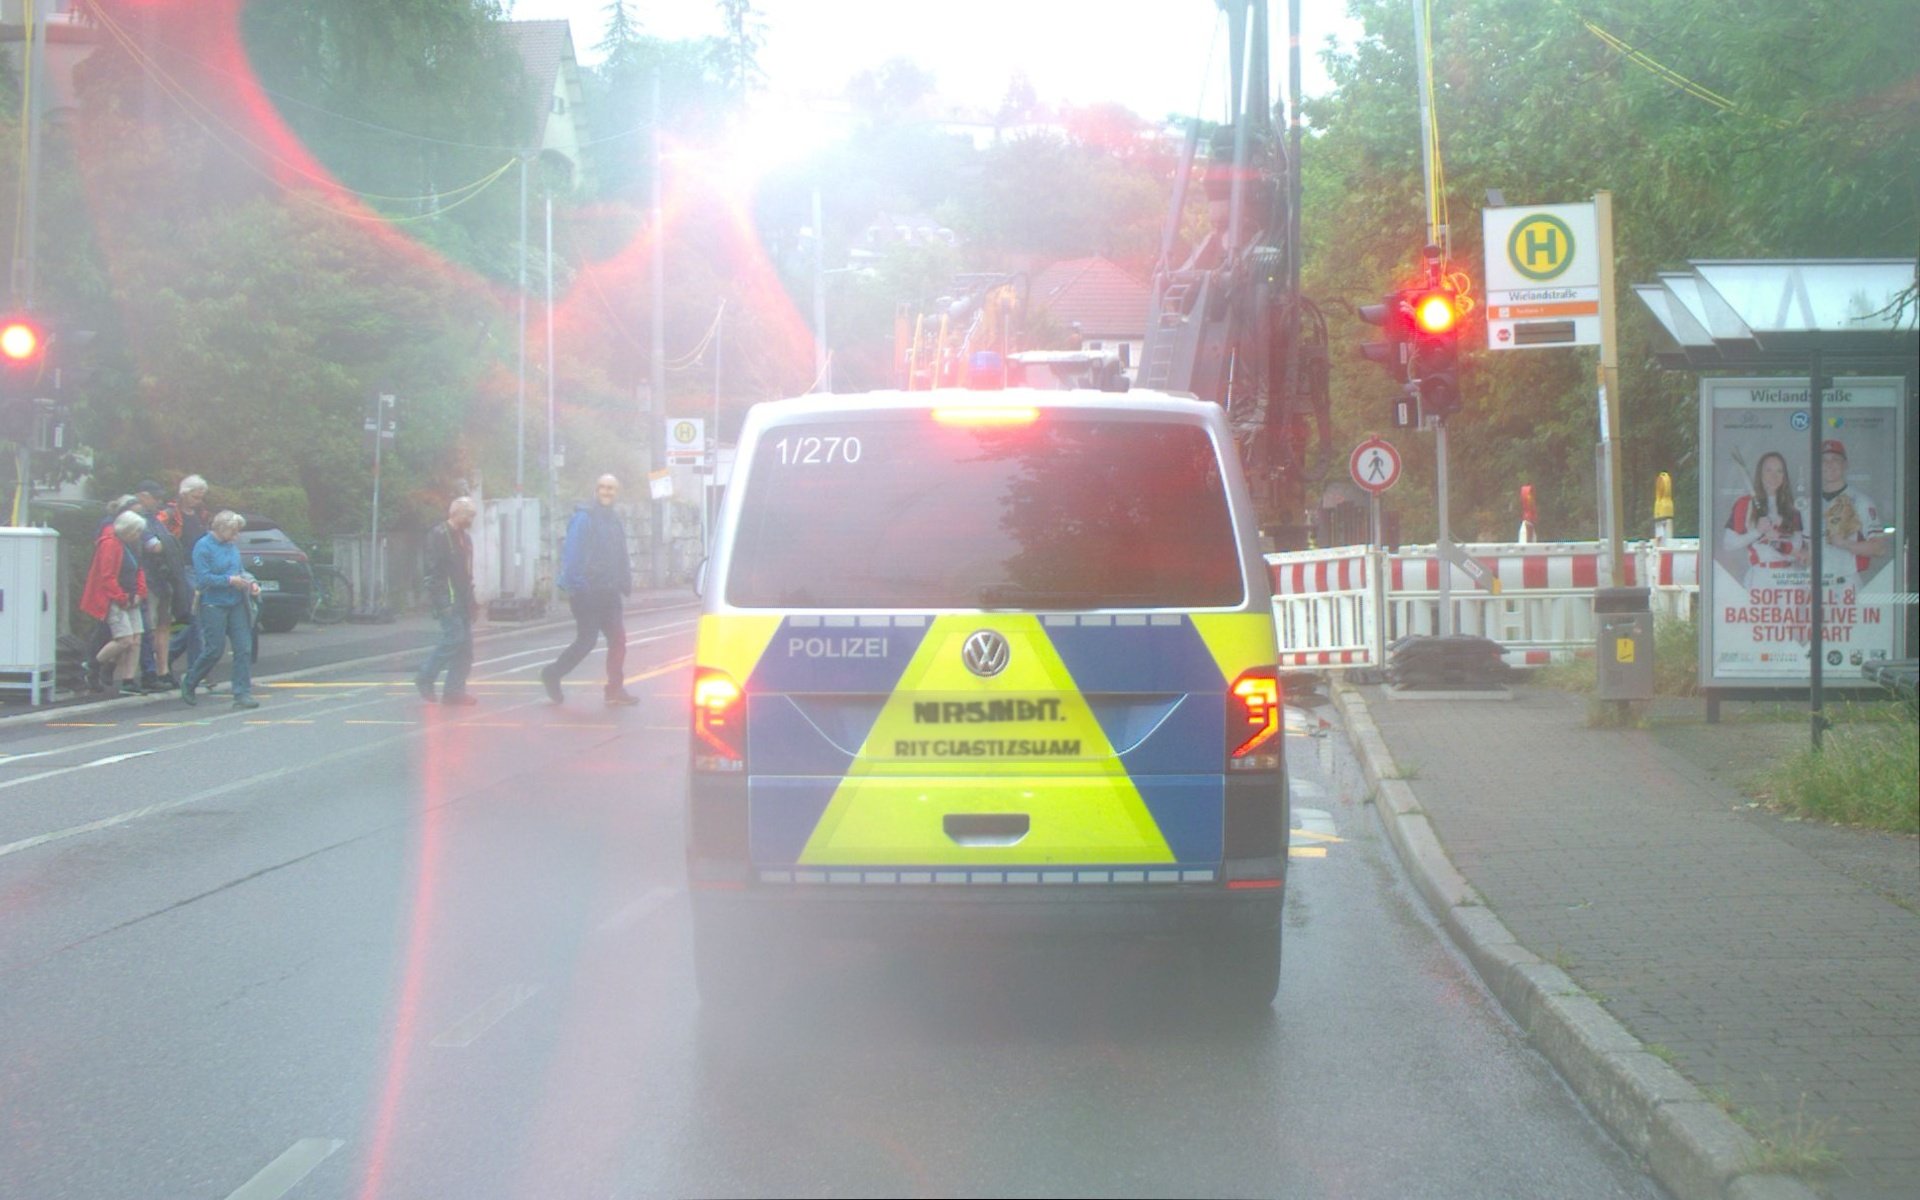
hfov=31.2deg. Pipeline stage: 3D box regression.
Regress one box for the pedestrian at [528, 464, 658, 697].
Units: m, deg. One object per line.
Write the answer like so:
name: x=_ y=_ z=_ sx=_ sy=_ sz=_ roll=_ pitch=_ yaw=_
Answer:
pedestrian: x=-2.876 y=-0.148 z=27.007 sx=0.890 sy=1.781 sz=0.828 roll=2 pitch=-1 yaw=-1

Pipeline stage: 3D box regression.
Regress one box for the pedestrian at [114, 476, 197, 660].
pedestrian: x=-6.681 y=-0.260 z=28.560 sx=0.525 sy=1.502 sz=0.429 roll=2 pitch=-1 yaw=2

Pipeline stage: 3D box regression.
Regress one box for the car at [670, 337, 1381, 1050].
car: x=0.127 y=0.182 z=12.004 sx=1.993 sy=2.006 sz=4.402 roll=1 pitch=2 yaw=-2

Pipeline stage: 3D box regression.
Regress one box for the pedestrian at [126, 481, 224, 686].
pedestrian: x=-6.665 y=-0.135 z=29.192 sx=0.626 sy=1.709 sz=0.593 roll=2 pitch=-1 yaw=2

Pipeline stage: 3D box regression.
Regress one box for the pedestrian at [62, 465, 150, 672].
pedestrian: x=-6.947 y=-0.253 z=27.974 sx=0.549 sy=1.662 sz=0.414 roll=2 pitch=-1 yaw=2

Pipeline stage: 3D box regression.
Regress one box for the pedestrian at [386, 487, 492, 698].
pedestrian: x=-4.037 y=-0.055 z=26.679 sx=0.686 sy=1.598 sz=0.606 roll=2 pitch=-1 yaw=-1

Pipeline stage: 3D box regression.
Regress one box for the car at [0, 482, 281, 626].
car: x=-9.767 y=-0.519 z=38.126 sx=3.989 sy=1.481 sz=1.759 roll=2 pitch=-1 yaw=11

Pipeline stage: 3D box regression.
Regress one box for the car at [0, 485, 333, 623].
car: x=-9.575 y=-0.536 z=40.272 sx=3.989 sy=1.481 sz=1.759 roll=2 pitch=-1 yaw=11

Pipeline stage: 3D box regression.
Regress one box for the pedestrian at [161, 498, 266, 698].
pedestrian: x=-5.801 y=-0.014 z=26.729 sx=0.626 sy=1.517 sz=0.593 roll=2 pitch=-1 yaw=2

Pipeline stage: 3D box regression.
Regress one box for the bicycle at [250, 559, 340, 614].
bicycle: x=-8.353 y=-0.167 z=43.193 sx=1.054 sy=0.660 sz=0.320 roll=2 pitch=-1 yaw=11

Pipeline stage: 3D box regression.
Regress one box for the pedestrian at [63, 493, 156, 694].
pedestrian: x=-6.783 y=-0.051 z=27.438 sx=0.563 sy=1.577 sz=0.468 roll=2 pitch=-1 yaw=2
